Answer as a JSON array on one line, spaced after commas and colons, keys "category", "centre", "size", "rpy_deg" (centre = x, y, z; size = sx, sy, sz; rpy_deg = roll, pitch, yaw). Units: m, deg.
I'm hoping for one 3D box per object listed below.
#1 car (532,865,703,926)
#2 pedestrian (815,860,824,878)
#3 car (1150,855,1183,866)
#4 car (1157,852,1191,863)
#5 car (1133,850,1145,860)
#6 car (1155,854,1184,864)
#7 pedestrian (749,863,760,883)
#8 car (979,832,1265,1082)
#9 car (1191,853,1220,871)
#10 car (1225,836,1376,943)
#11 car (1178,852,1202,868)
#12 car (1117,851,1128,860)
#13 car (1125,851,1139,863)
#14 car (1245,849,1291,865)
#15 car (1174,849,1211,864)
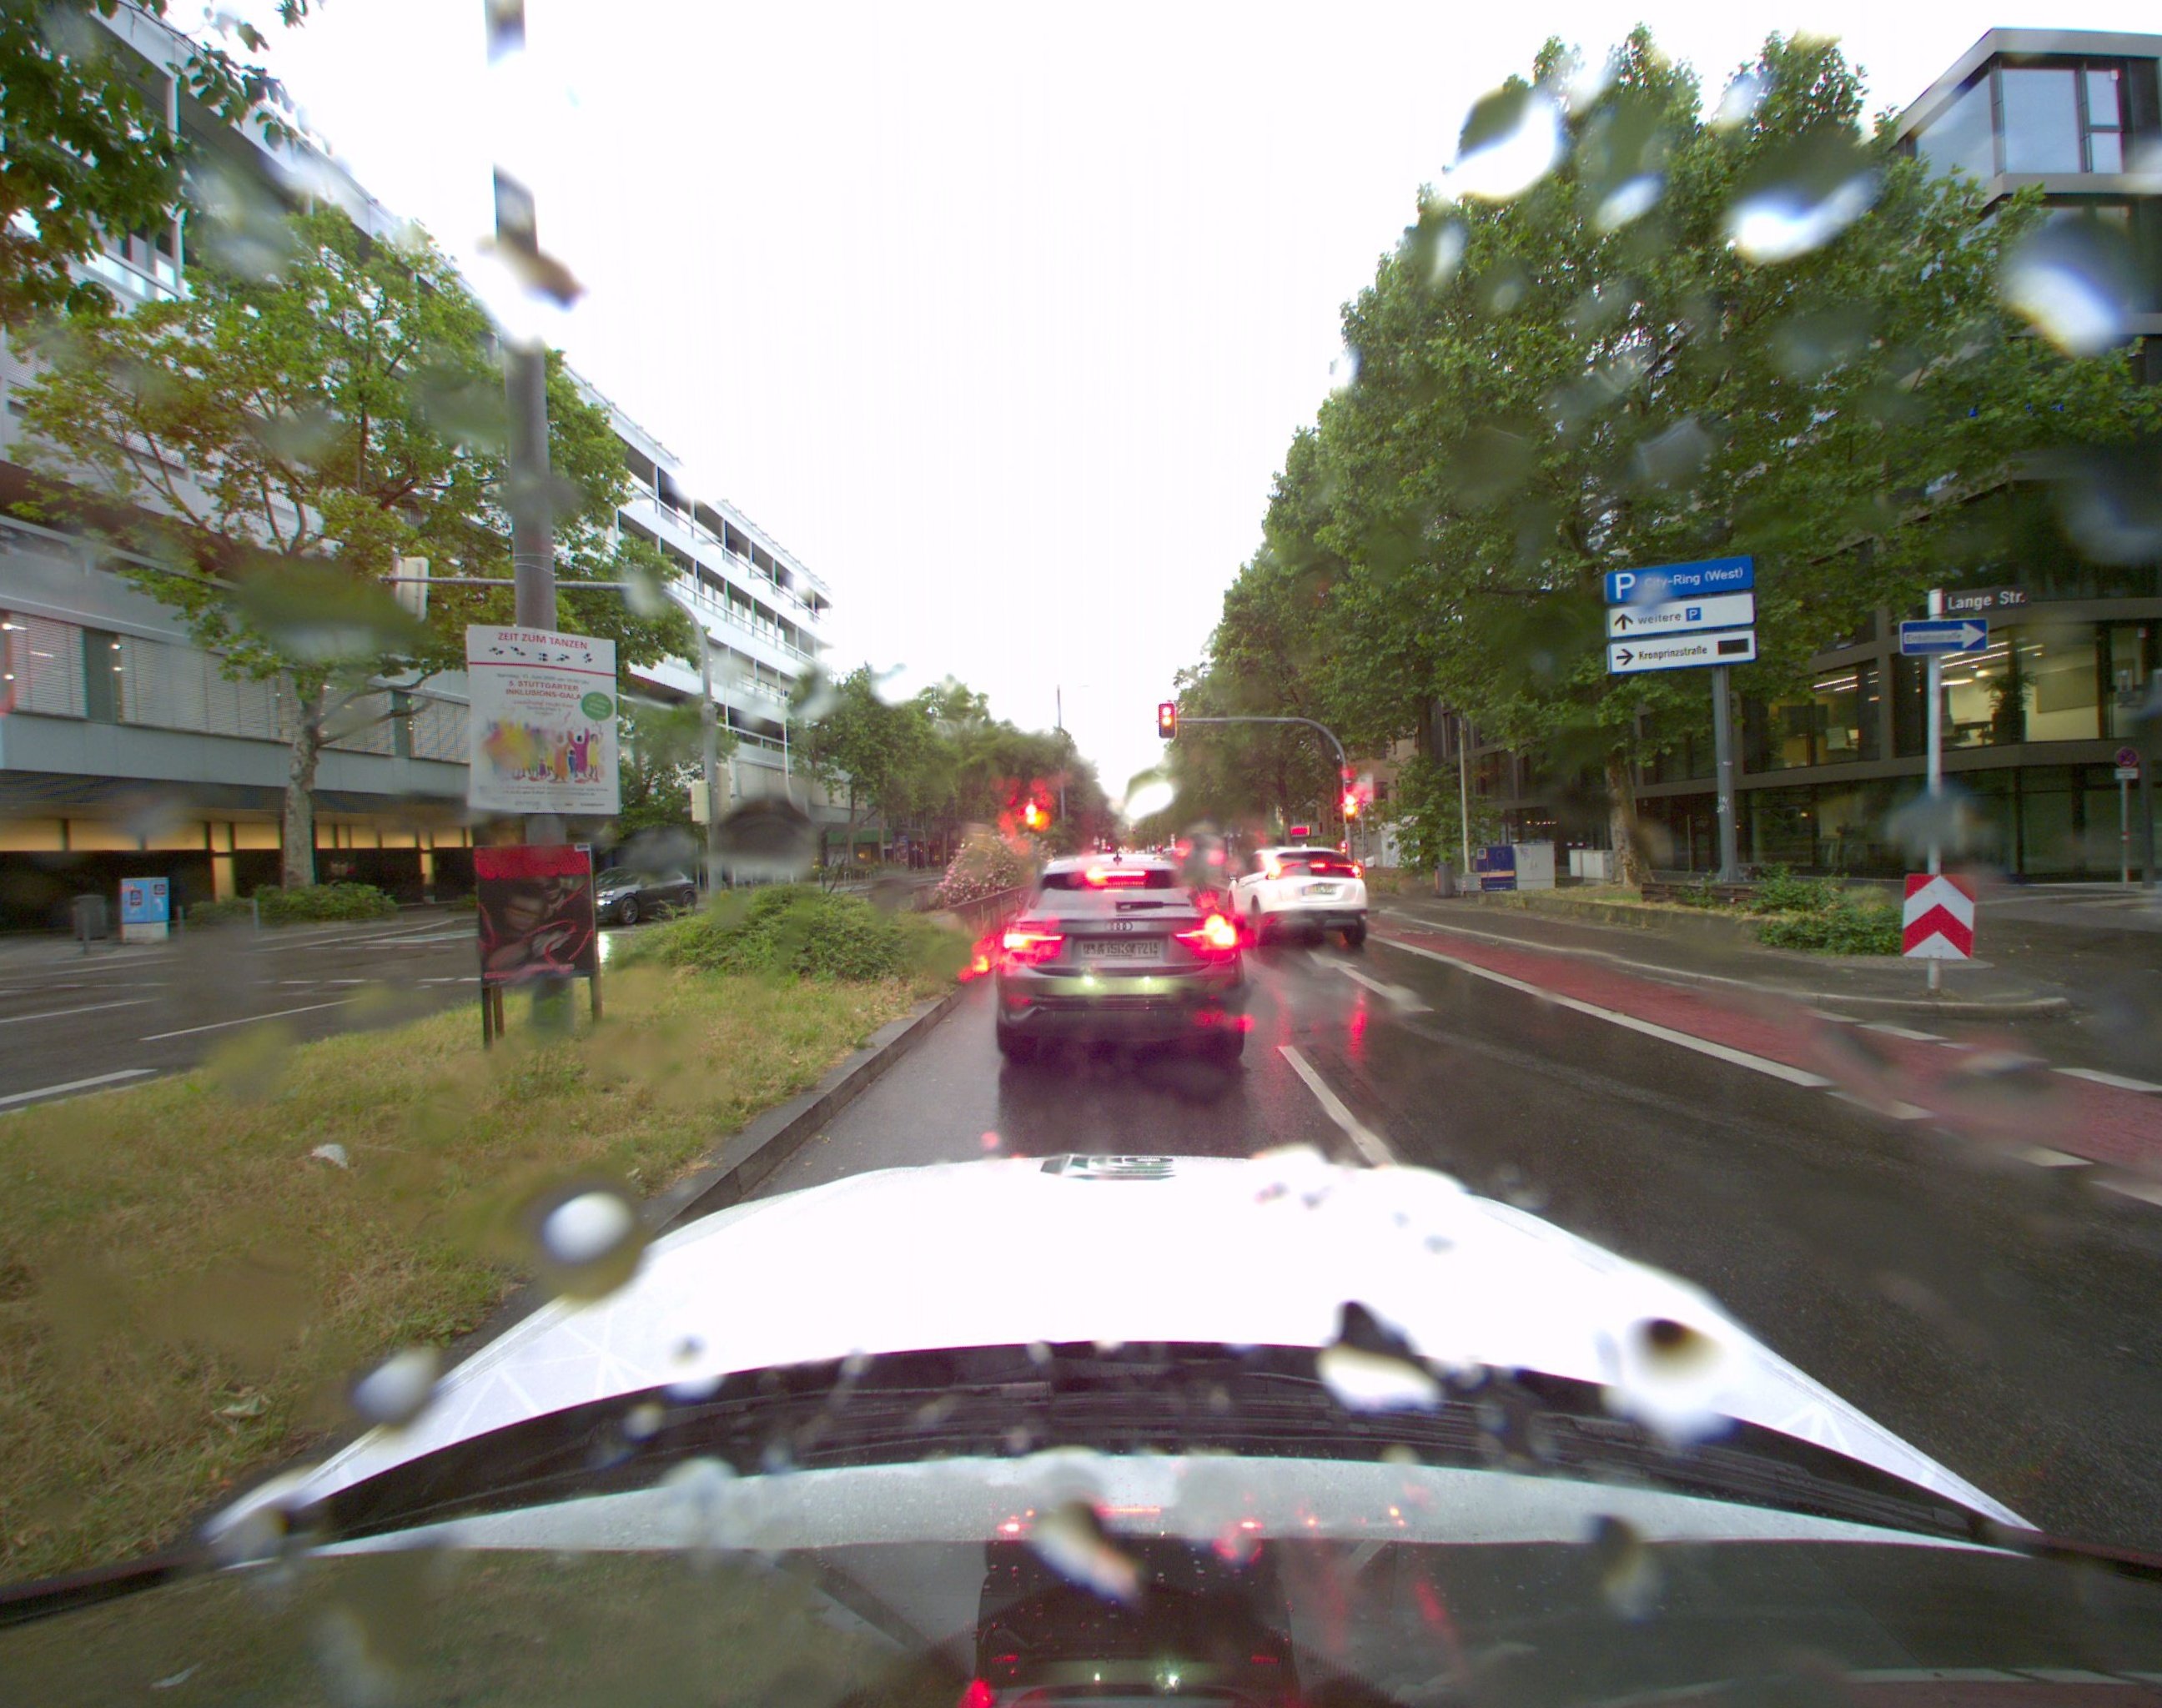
[{"category": "car", "centre": [-13.326, 1.141, 23.829], "size": [1.900, 1.584, 4.754], "rpy_deg": [0, -1, 6]}, {"category": "pedestrian", "centre": [-21.870, 1.238, 68.091], "size": [0.609, 1.482, 0.573], "rpy_deg": [0, -1, -9]}, {"category": "car", "centre": [13.387, 1.002, 127.593], "size": [4.594, 1.706, 2.012], "rpy_deg": [-1, -1, 30]}, {"category": "car", "centre": [14.071, 0.556, 123.195], "size": [4.594, 1.706, 2.012], "rpy_deg": [-1, -1, 30]}, {"category": "car", "centre": [10.733, 0.199, 151.063], "size": [1.985, 1.651, 4.003], "rpy_deg": [0, -1, 3]}, {"category": "car", "centre": [15.304, 0.827, 140.441], "size": [4.594, 1.706, 2.012], "rpy_deg": [-1, -1, 30]}, {"category": "pedestrian", "centre": [-22.374, 1.312, 55.846], "size": [0.637, 1.380, 0.473], "rpy_deg": [0, -1, -9]}, {"category": "car", "centre": [0.329, 0.683, 7.345], "size": [1.842, 1.602, 4.001], "rpy_deg": [-1, 0, 2]}, {"category": "car", "centre": [10.411, 0.645, 68.320], "size": [1.865, 1.421, 4.614], "rpy_deg": [0, 0, 3]}, {"category": "car", "centre": [3.843, 0.593, 14.980], "size": [1.870, 1.697, 4.002], "rpy_deg": [0, -1, 3]}, {"category": "car", "centre": [10.597, 0.595, 79.265], "size": [1.723, 1.571, 4.070], "rpy_deg": [0, -1, -2]}, {"category": "car", "centre": [7.575, 0.300, 148.194], "size": [1.889, 1.599, 3.940], "rpy_deg": [0, -1, 2]}, {"category": "car", "centre": [7.357, 0.454, 117.324], "size": [1.986, 1.726, 4.002], "rpy_deg": [0, -1, 2]}, {"category": "car", "centre": [13.369, 0.230, 58.362], "size": [2.856, 1.074, 1.465], "rpy_deg": [-1, -1, 33]}, {"category": "car", "centre": [14.913, 0.375, 108.918], "size": [4.548, 2.014, 1.980], "rpy_deg": [-1, -1, 41]}]
